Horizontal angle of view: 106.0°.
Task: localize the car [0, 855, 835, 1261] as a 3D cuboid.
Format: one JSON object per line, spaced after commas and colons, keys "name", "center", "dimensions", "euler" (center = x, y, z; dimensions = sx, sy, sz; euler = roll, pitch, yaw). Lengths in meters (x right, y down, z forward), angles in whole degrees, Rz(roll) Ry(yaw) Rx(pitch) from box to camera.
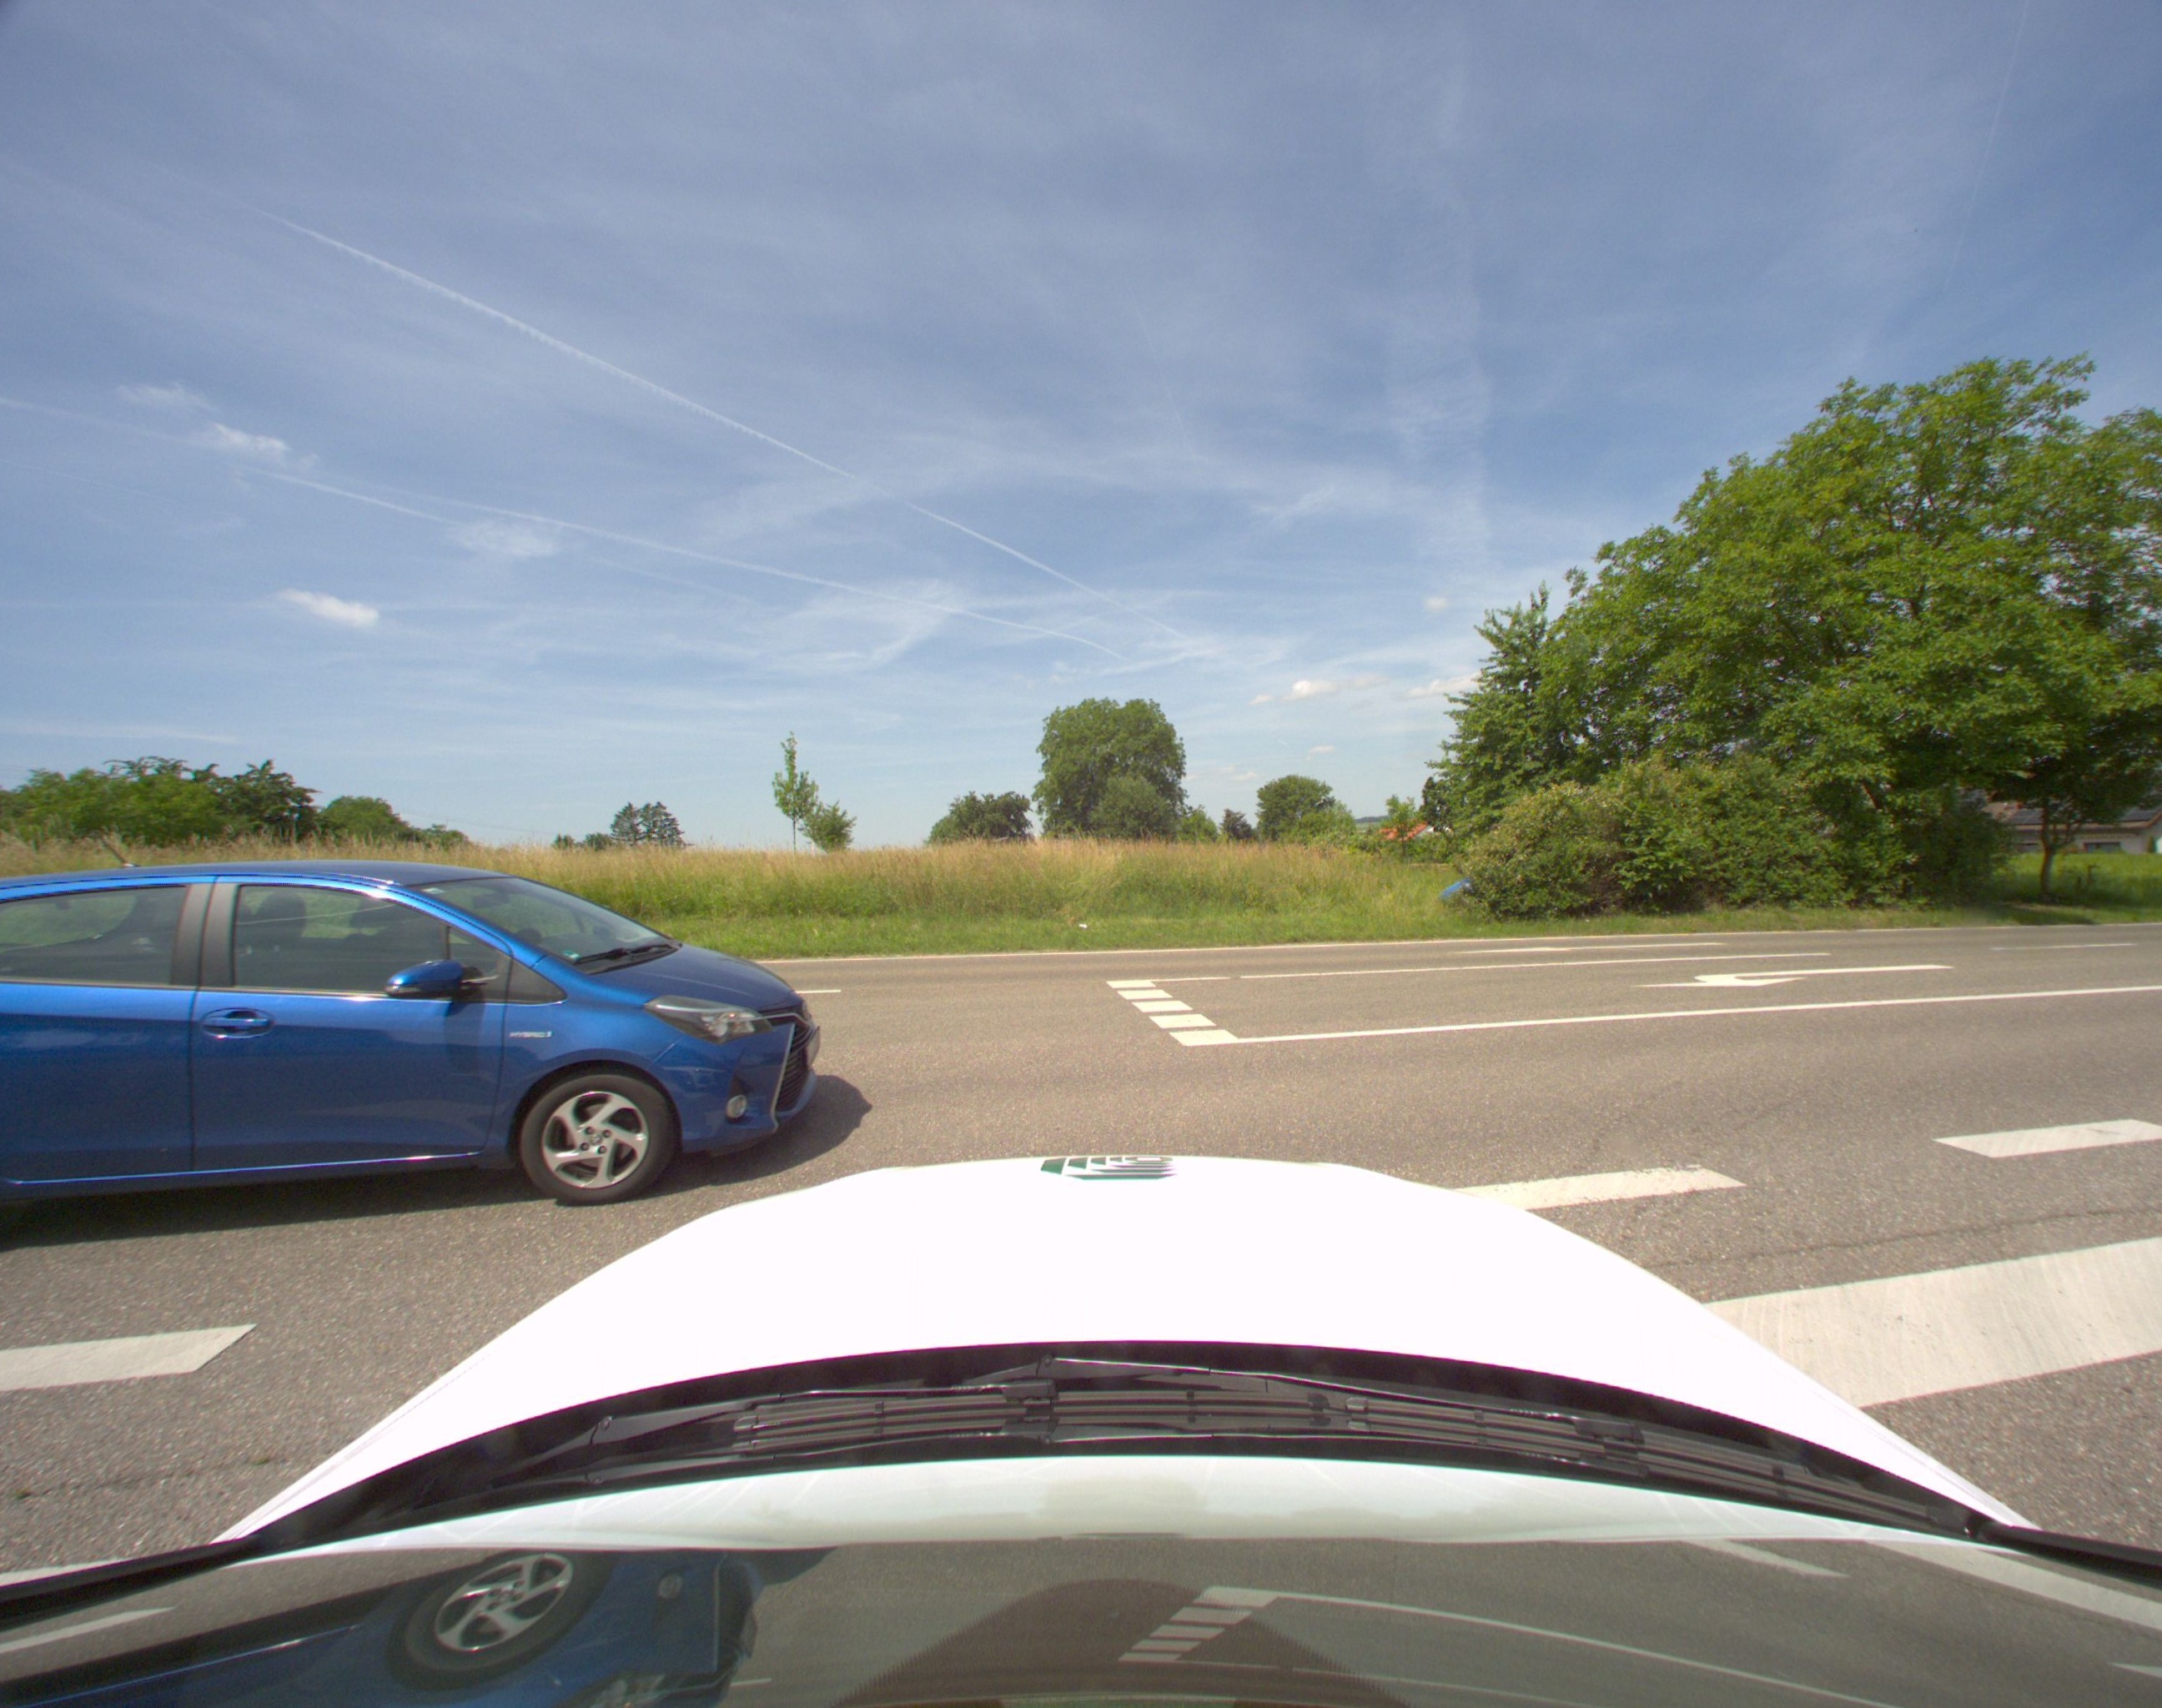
{"name": "car", "center": [-3.313, 0.772, 4.054], "dimensions": [3.839, 1.492, 1.607], "euler": [-1, 0, -12]}
